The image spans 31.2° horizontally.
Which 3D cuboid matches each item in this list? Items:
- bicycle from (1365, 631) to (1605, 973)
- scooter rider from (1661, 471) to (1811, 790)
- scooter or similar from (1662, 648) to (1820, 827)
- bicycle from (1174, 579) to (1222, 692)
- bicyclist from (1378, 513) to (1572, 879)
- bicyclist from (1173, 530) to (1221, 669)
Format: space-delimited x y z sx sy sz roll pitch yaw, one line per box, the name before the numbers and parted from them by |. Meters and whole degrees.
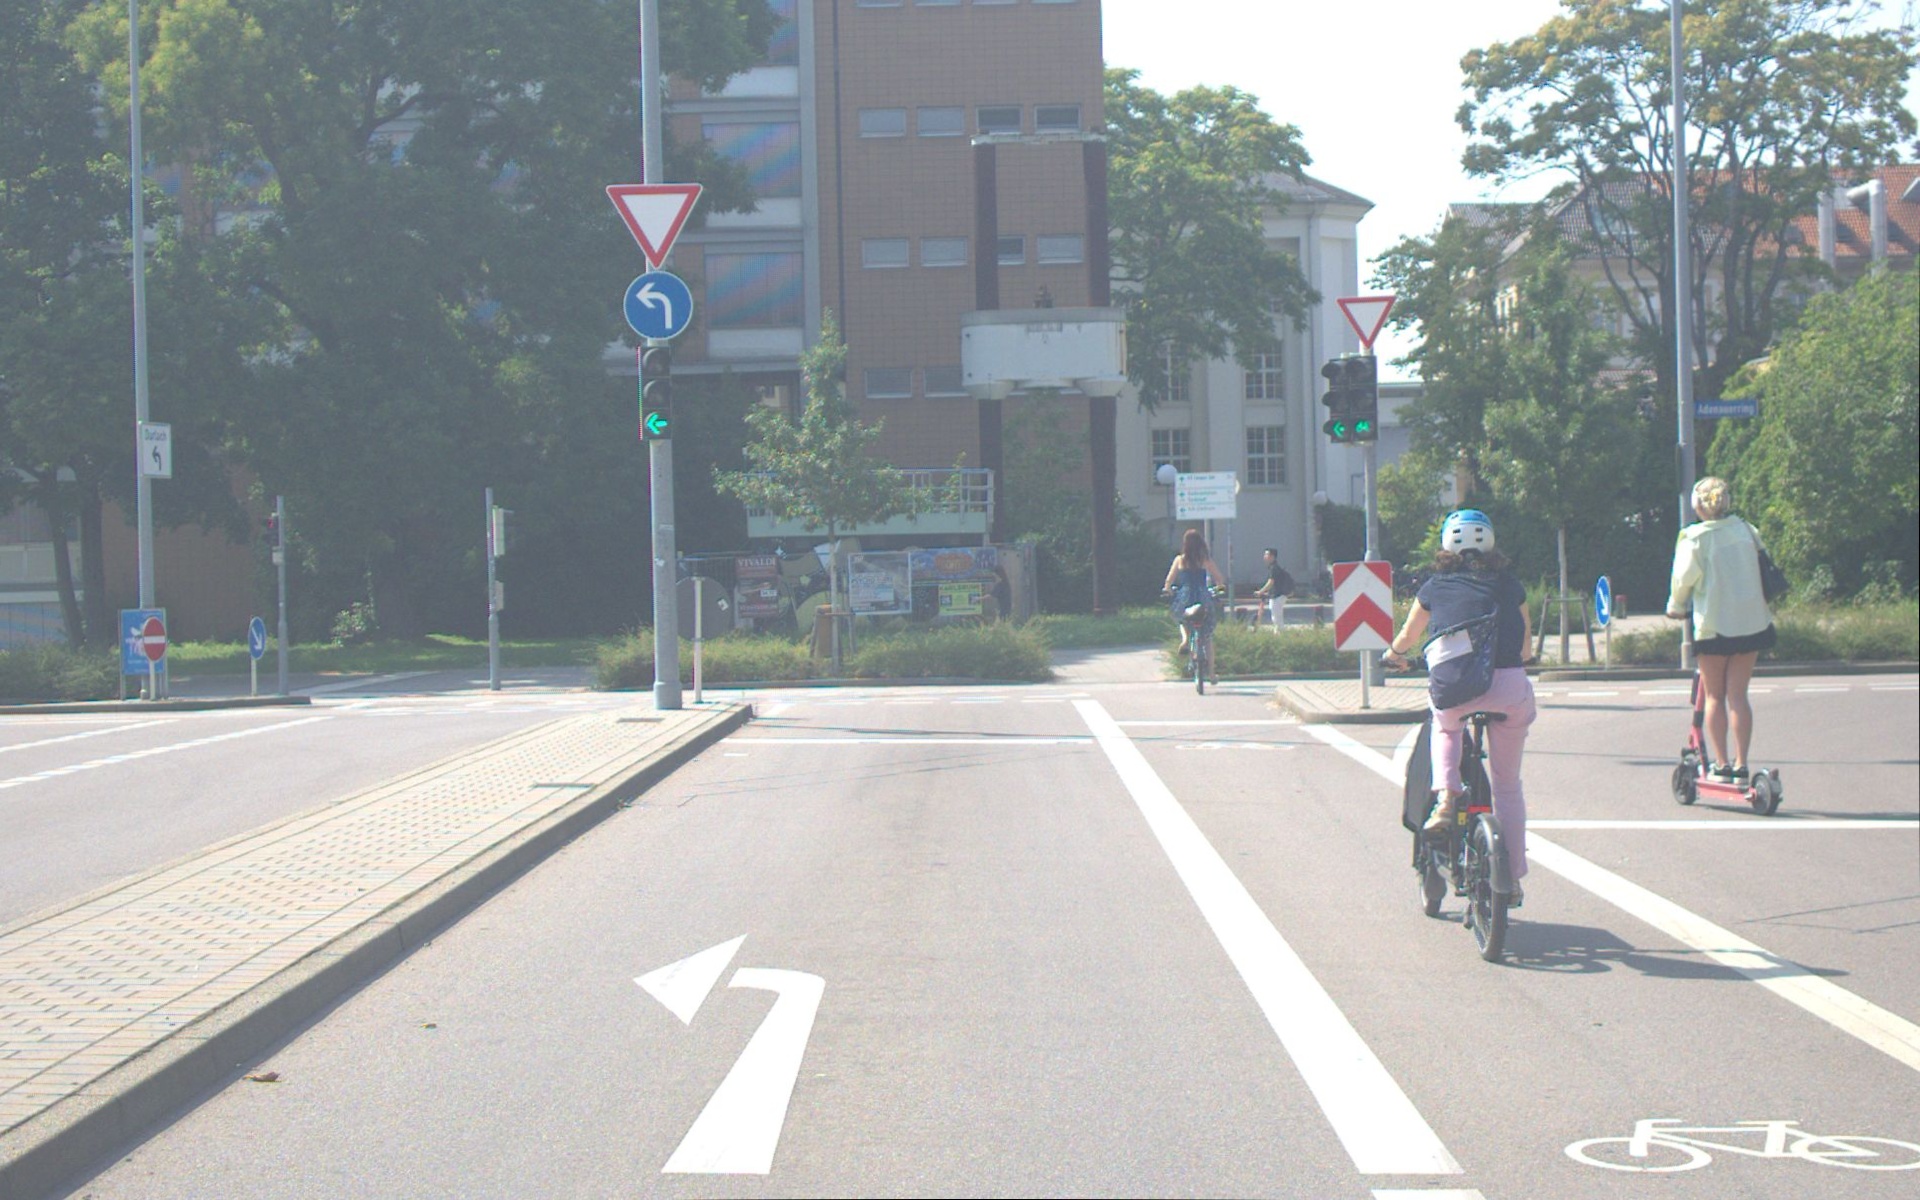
bicycle | 1.969 0.723 13.092 0.604 1.159 1.810 -1 1 0
scooter rider | 4.395 0.170 19.500 0.762 1.769 0.555 -1 1 9
scooter or similar | 4.428 0.766 19.582 0.772 0.923 1.620 -1 1 9
bicycle | 2.444 0.353 35.275 0.444 1.113 1.446 -2 1 4
bicyclist | 1.932 0.347 12.946 0.602 1.330 0.660 -1 1 0
bicyclist | 2.447 -0.009 35.478 0.450 1.416 0.495 -2 1 4
